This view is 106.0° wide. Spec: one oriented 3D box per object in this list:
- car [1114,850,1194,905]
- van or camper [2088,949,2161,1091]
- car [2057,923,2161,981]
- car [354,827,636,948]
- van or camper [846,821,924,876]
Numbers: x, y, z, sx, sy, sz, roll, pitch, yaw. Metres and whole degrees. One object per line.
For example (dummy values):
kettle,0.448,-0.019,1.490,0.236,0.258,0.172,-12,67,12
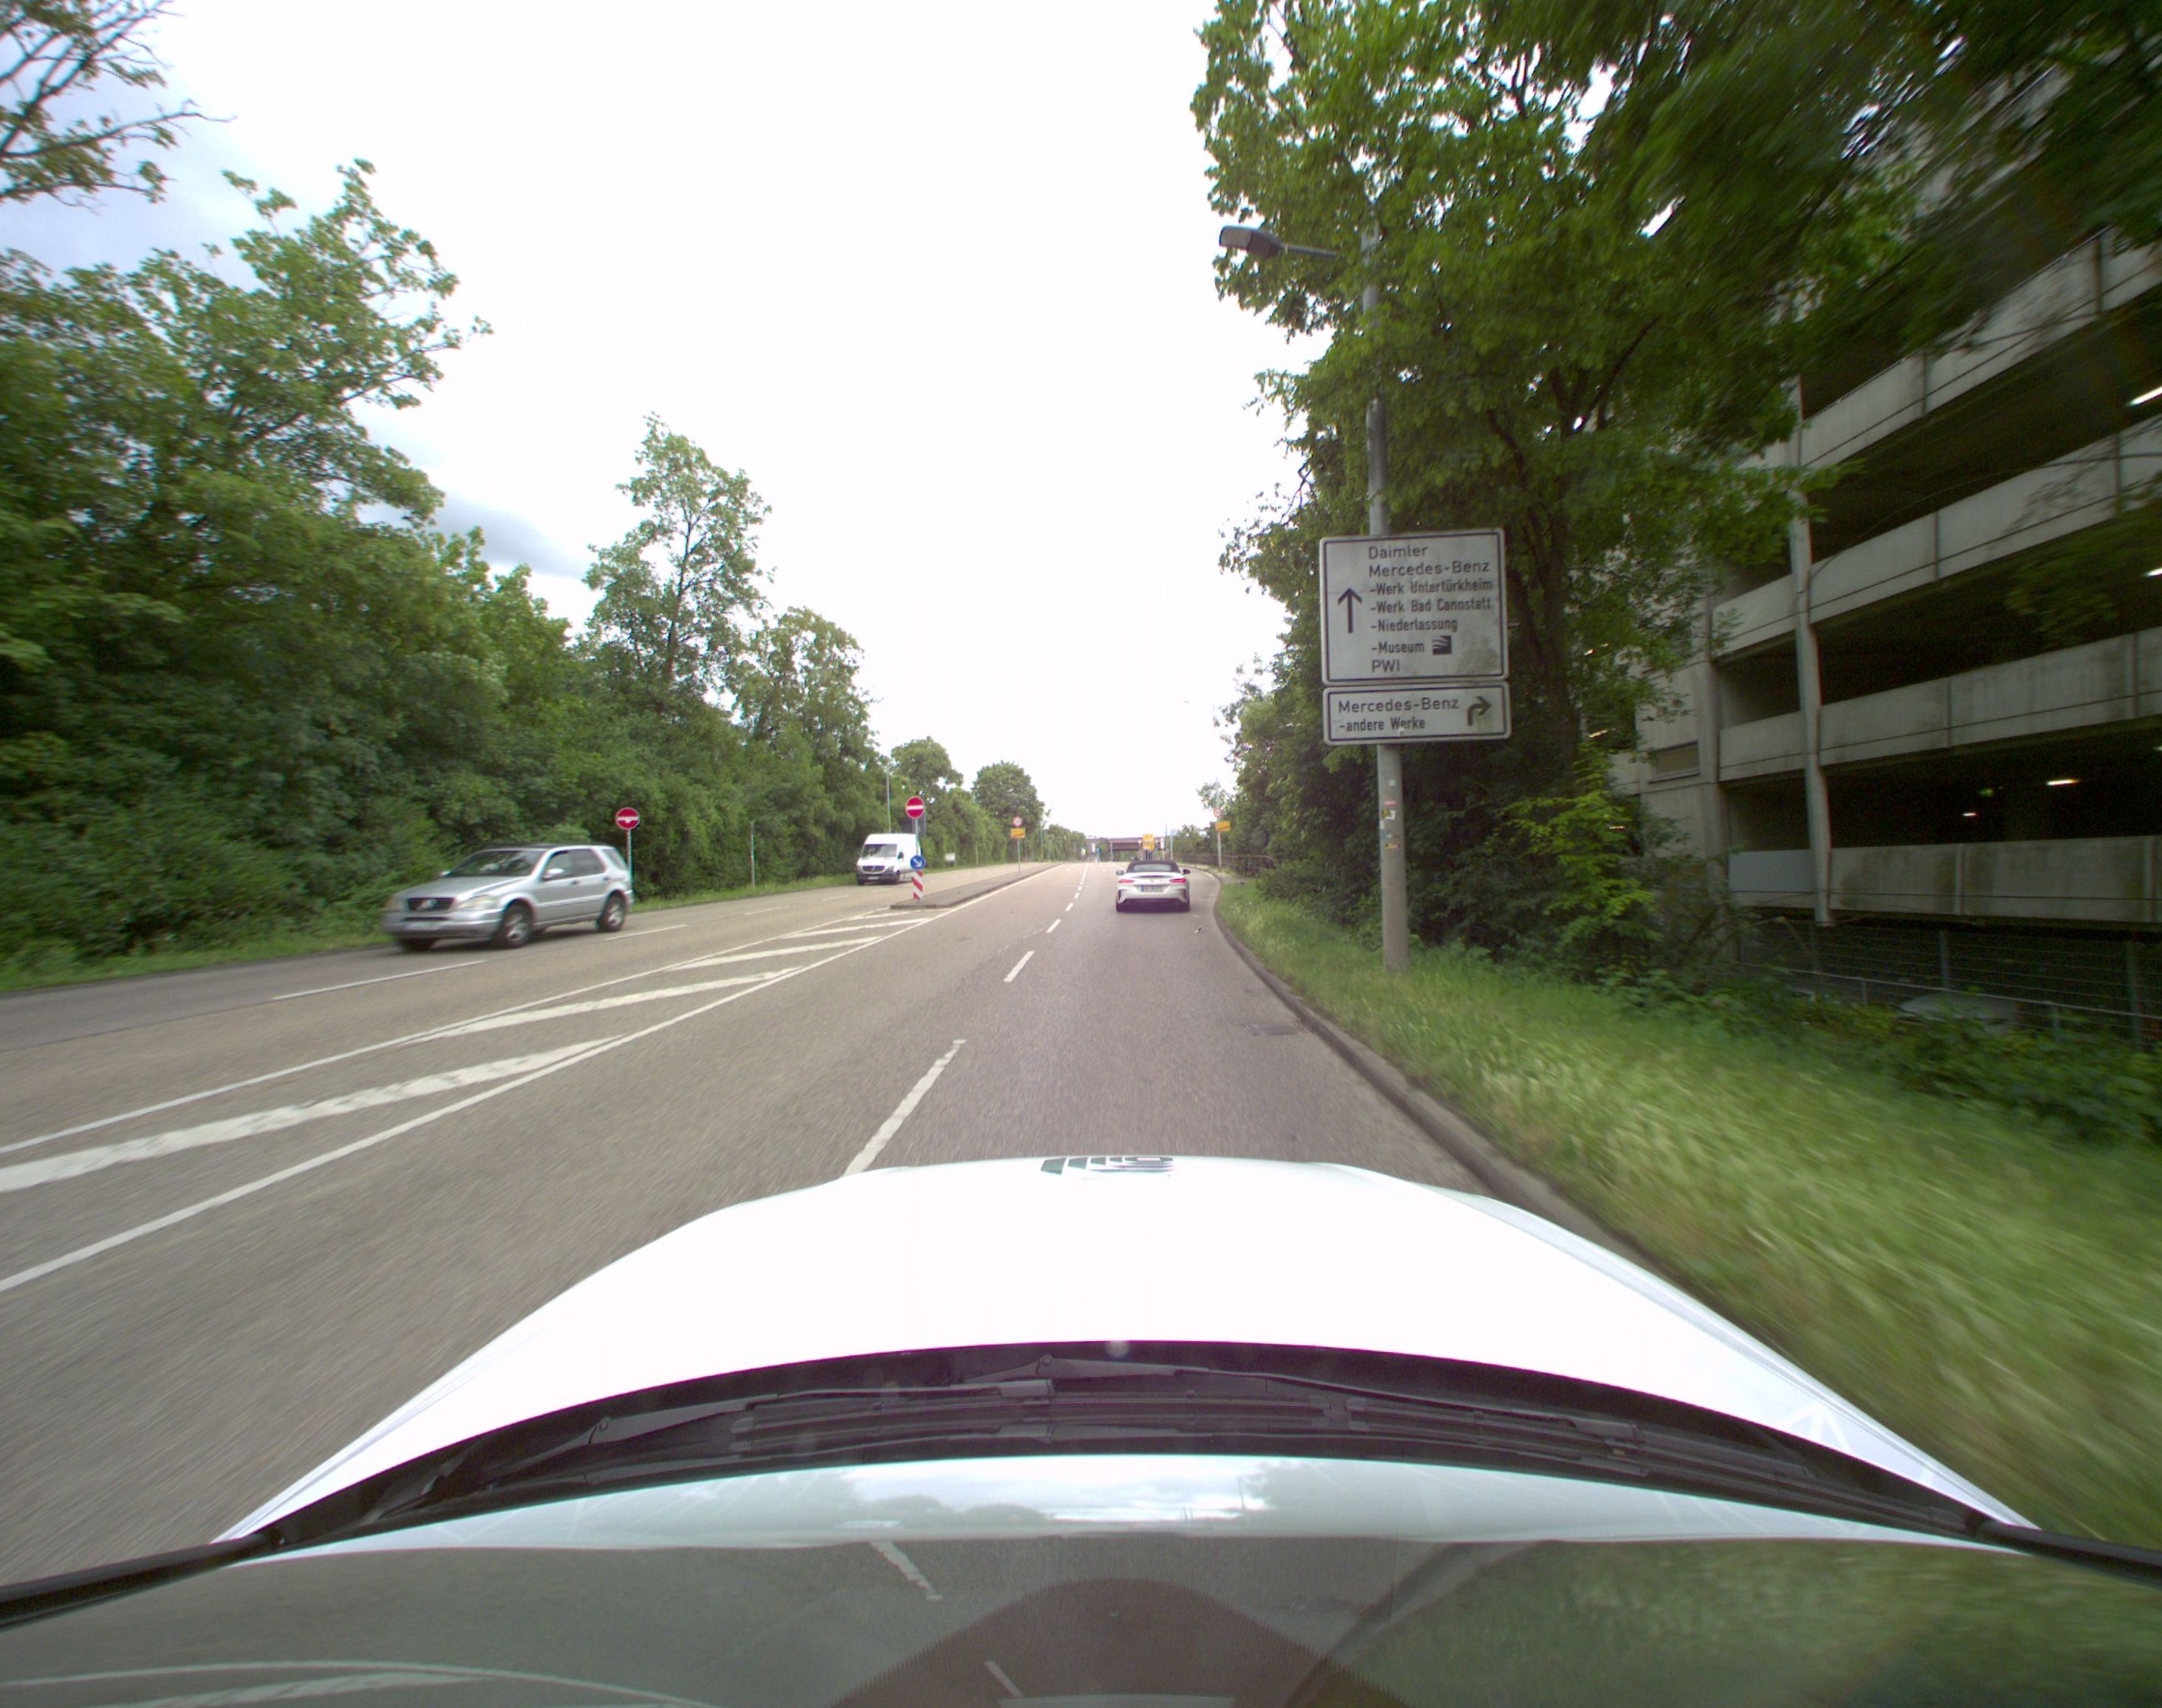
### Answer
car,1.842,0.557,21.653,1.868,1.309,3.874,0,1,1
van or camper,17.790,2.418,11.827,3.991,1.954,1.840,-2,-1,0
car,29.059,2.626,22.046,3.189,1.307,1.569,-2,-2,3
car,-10.169,0.468,14.663,1.807,1.830,4.384,-1,1,1
van or camper,-9.968,-0.320,42.102,2.275,2.554,6.860,2,1,0
